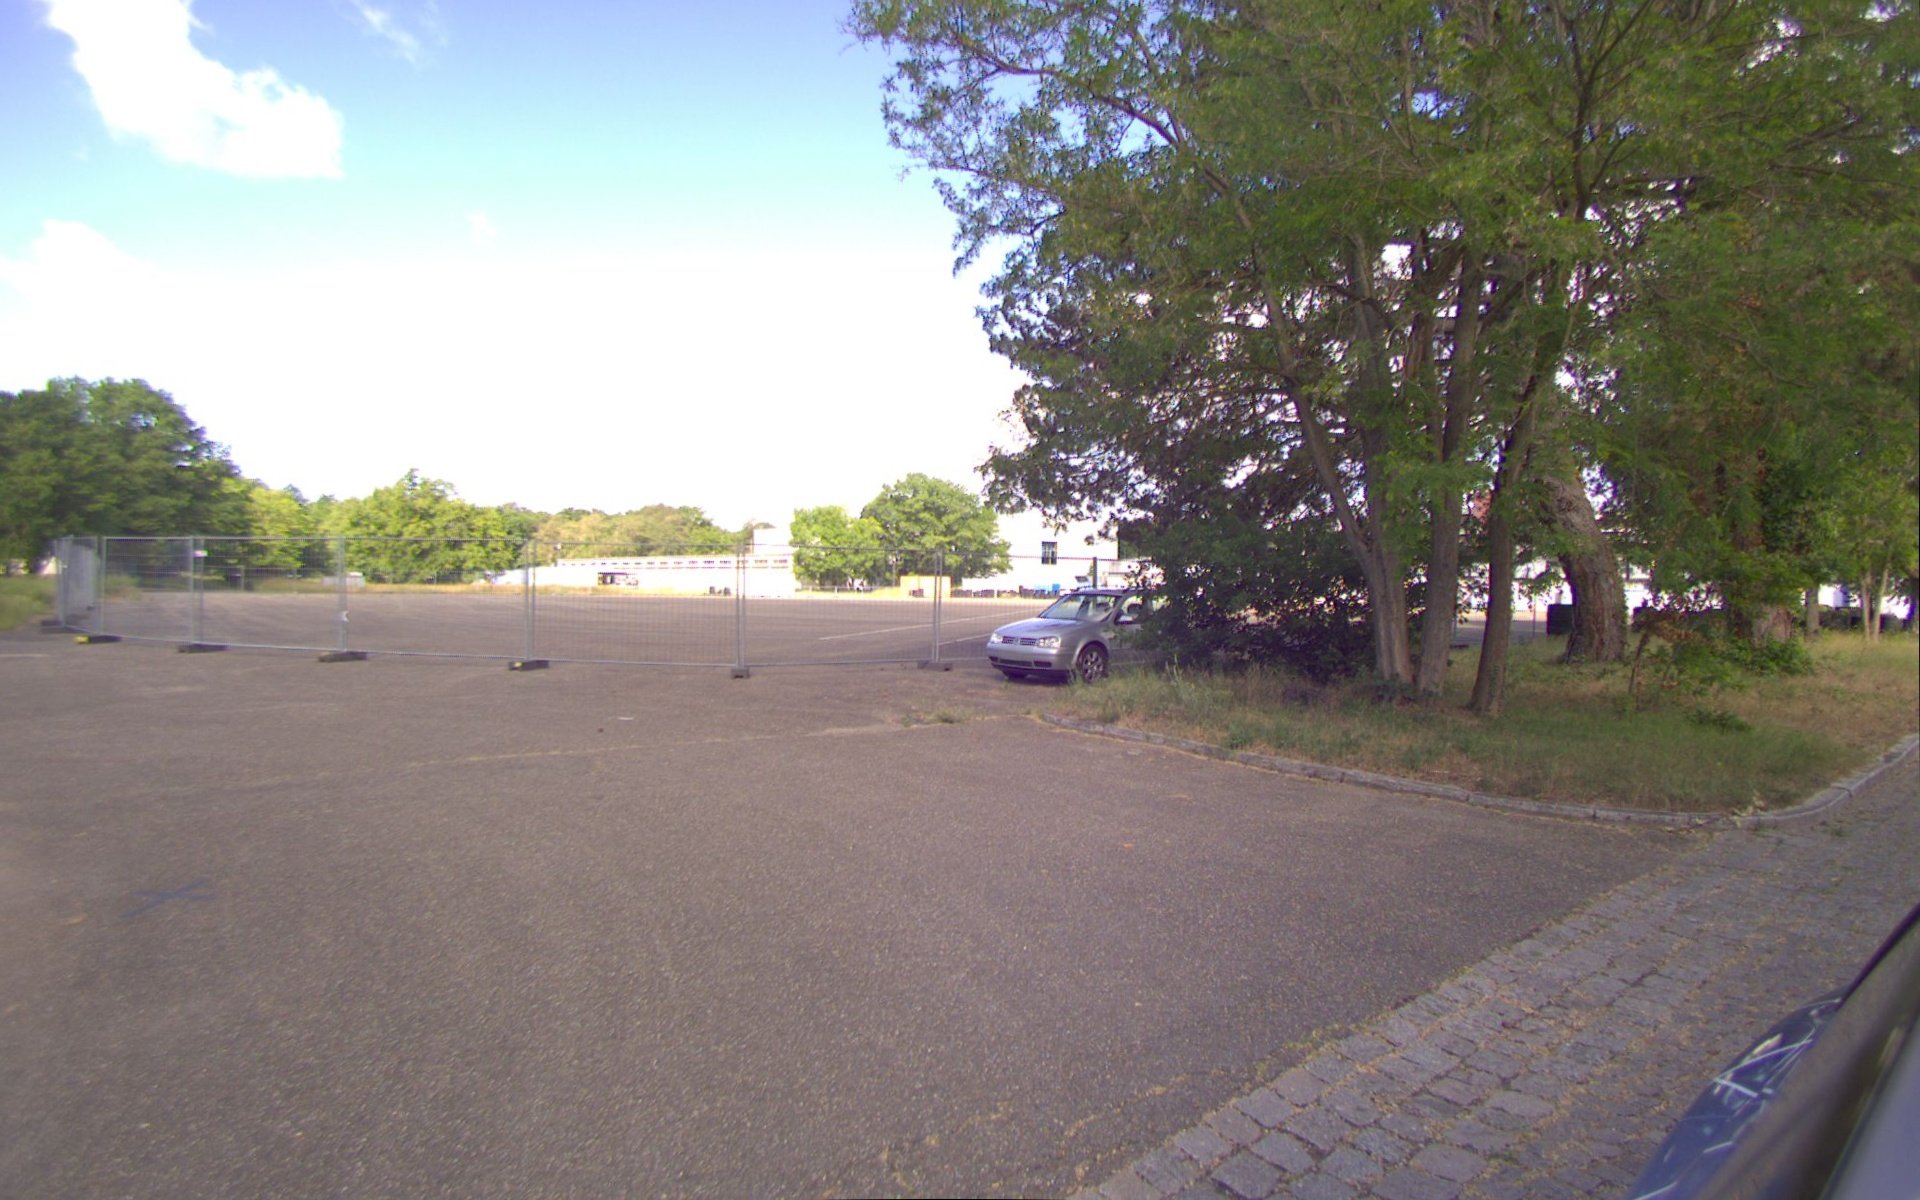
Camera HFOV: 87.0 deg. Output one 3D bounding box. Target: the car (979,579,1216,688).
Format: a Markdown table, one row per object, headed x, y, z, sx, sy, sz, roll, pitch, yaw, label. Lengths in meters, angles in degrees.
| x | y | z | sx | sy | sz | roll | pitch | yaw | label |
| --- | --- | --- | --- | --- | --- | --- | --- | --- | --- |
| 2.262 | 0.447 | 15.981 | 3.920 | 1.461 | 1.576 | 0 | 2 | -44 | car |
